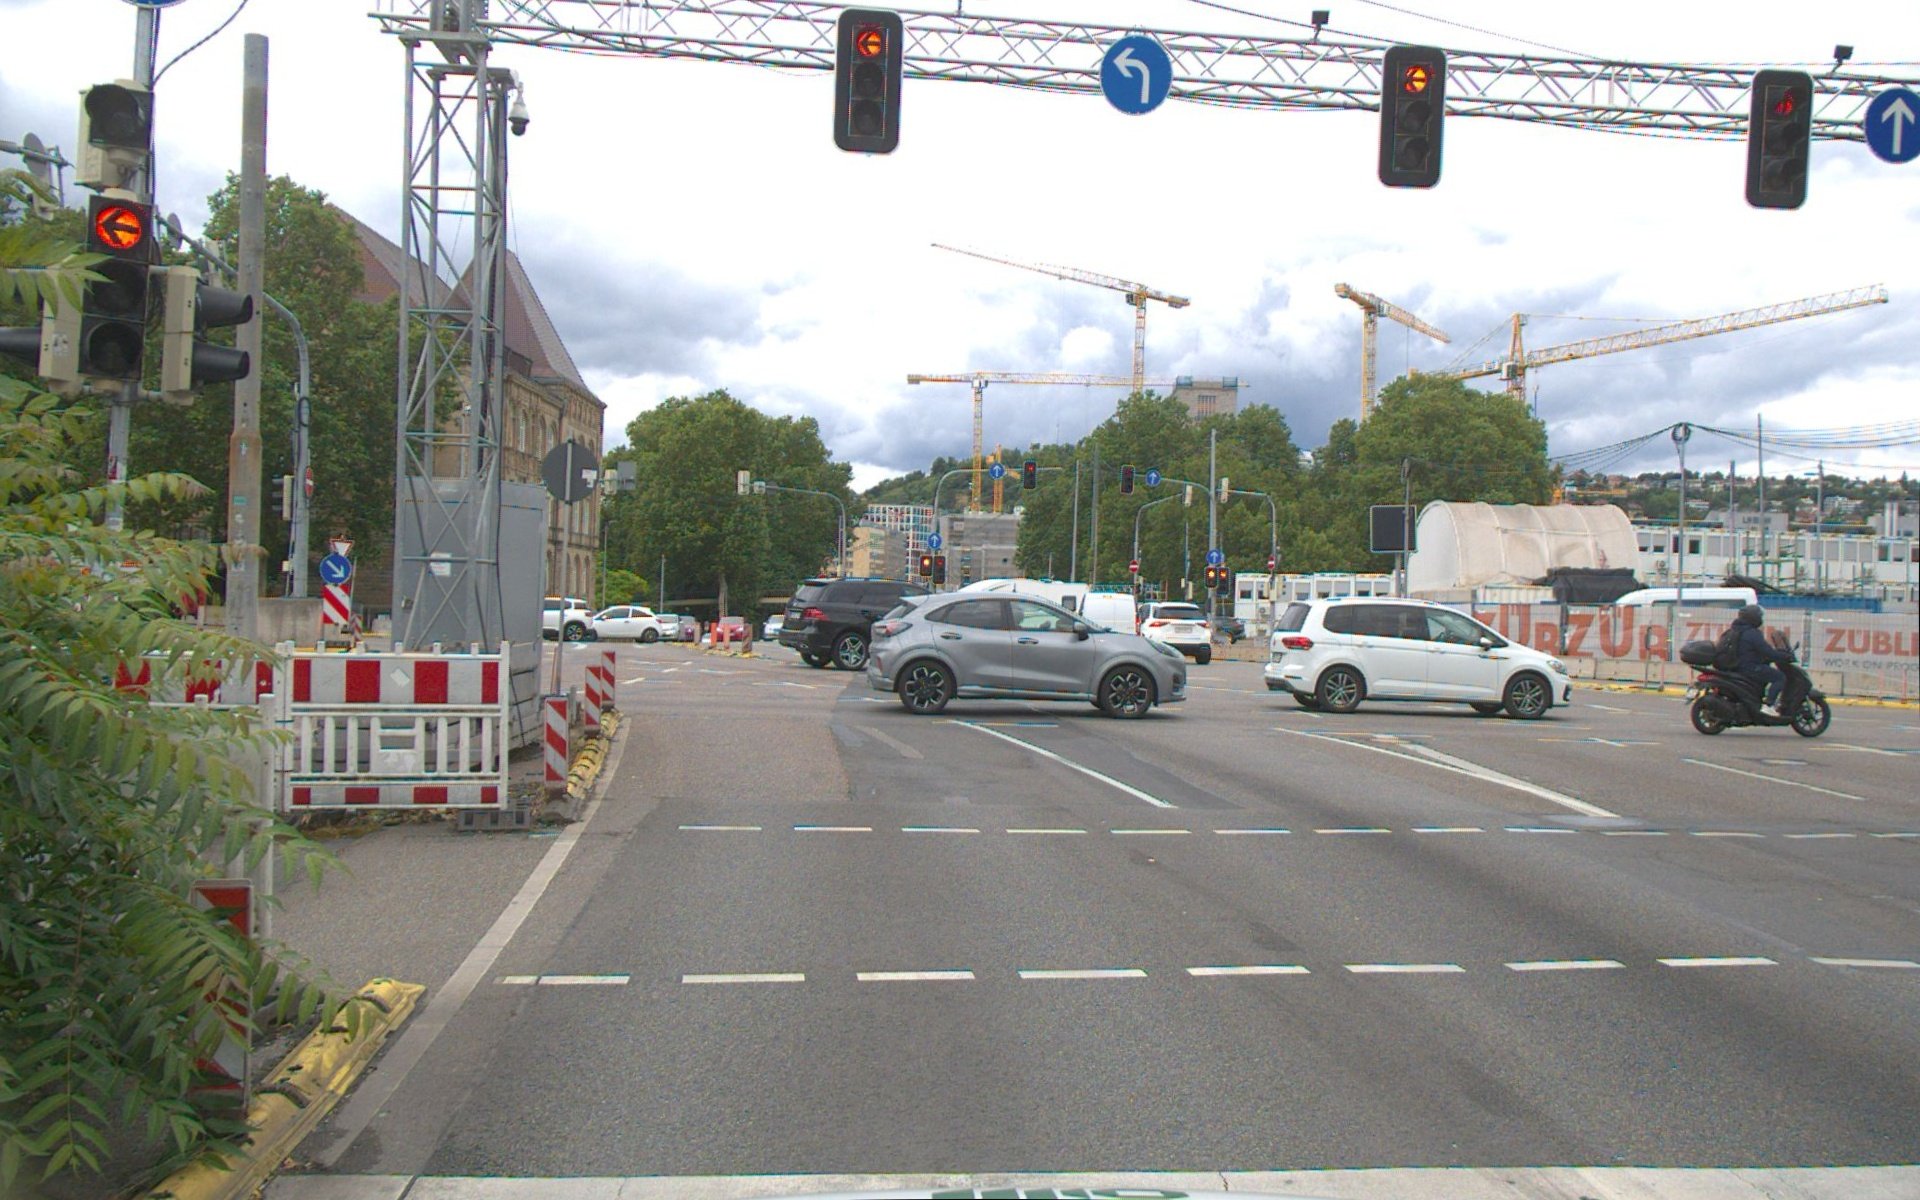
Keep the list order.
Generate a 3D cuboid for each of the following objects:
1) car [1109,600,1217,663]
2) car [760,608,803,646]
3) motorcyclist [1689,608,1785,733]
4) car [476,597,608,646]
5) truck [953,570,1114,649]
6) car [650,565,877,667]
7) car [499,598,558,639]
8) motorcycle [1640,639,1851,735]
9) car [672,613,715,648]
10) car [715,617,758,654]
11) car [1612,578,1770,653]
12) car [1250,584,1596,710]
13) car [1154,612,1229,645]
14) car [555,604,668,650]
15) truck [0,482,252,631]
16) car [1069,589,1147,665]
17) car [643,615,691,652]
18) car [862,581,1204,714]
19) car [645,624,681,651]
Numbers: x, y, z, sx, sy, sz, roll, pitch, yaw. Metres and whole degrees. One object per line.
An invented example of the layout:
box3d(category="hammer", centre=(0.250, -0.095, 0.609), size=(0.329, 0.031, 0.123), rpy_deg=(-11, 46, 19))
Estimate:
box3d(category="car", centre=(6.008, 0.902, 49.451), size=(1.957, 1.790, 4.494), rpy_deg=(1, 0, -10))
box3d(category="car", centre=(-9.275, 1.374, 86.184), size=(1.954, 1.870, 3.997), rpy_deg=(1, 0, -3))
box3d(category="motorcyclist", centre=(10.191, 0.905, 21.710), size=(0.860, 1.598, 0.817), rpy_deg=(1, 0, 0))
box3d(category="car", centre=(-15.608, 0.803, 61.798), size=(4.524, 1.754, 1.894), rpy_deg=(1, 0, -24))
box3d(category="truck", centre=(3.128, 0.437, 70.316), size=(6.495, 3.201, 2.349), rpy_deg=(1, 0, -24))
box3d(category="car", centre=(-3.853, 0.328, 32.252), size=(4.171, 1.866, 1.993), rpy_deg=(1, 0, -14))
box3d(category="car", centre=(-20.592, 0.878, 79.127), size=(1.954, 1.870, 3.997), rpy_deg=(1, 0, -3))
box3d(category="motorcycle", centre=(10.289, 1.132, 21.712), size=(2.373, 1.175, 0.817), rpy_deg=(1, 0, 0))
box3d(category="car", centre=(-15.053, 1.715, 93.711), size=(1.954, 1.870, 3.997), rpy_deg=(1, 0, -3))
box3d(category="car", centre=(-12.081, 1.898, 89.525), size=(1.954, 1.870, 3.997), rpy_deg=(1, 0, -3))
box3d(category="car", centre=(21.061, 0.440, 47.821), size=(3.902, 2.049, 2.001), rpy_deg=(1, 0, 15))
box3d(category="car", centre=(6.823, 0.680, 24.683), size=(4.577, 1.732, 1.999), rpy_deg=(1, 0, -3))
box3d(category="car", centre=(12.507, 1.507, 89.462), size=(3.902, 1.691, 2.001), rpy_deg=(1, 0, 6))
box3d(category="car", centre=(-13.896, 1.077, 65.952), size=(4.093, 1.754, 1.894), rpy_deg=(1, 0, -24))
box3d(category="truck", centre=(-30.823, -1.488, 59.243), size=(9.555, 5.047, 3.100), rpy_deg=(1, 0, -16))
box3d(category="car", centre=(3.844, 0.683, 43.514), size=(1.825, 1.865, 4.723), rpy_deg=(1, 0, 3))
box3d(category="car", centre=(-15.187, 1.717, 85.935), size=(1.954, 1.870, 3.997), rpy_deg=(1, 0, -3))
box3d(category="car", centre=(0.871, 0.596, 21.388), size=(4.209, 1.567, 1.999), rpy_deg=(1, 0, -3))
box3d(category="car", centre=(-22.223, 2.803, 123.810), size=(1.952, 1.870, 4.000), rpy_deg=(1, 0, 0))
